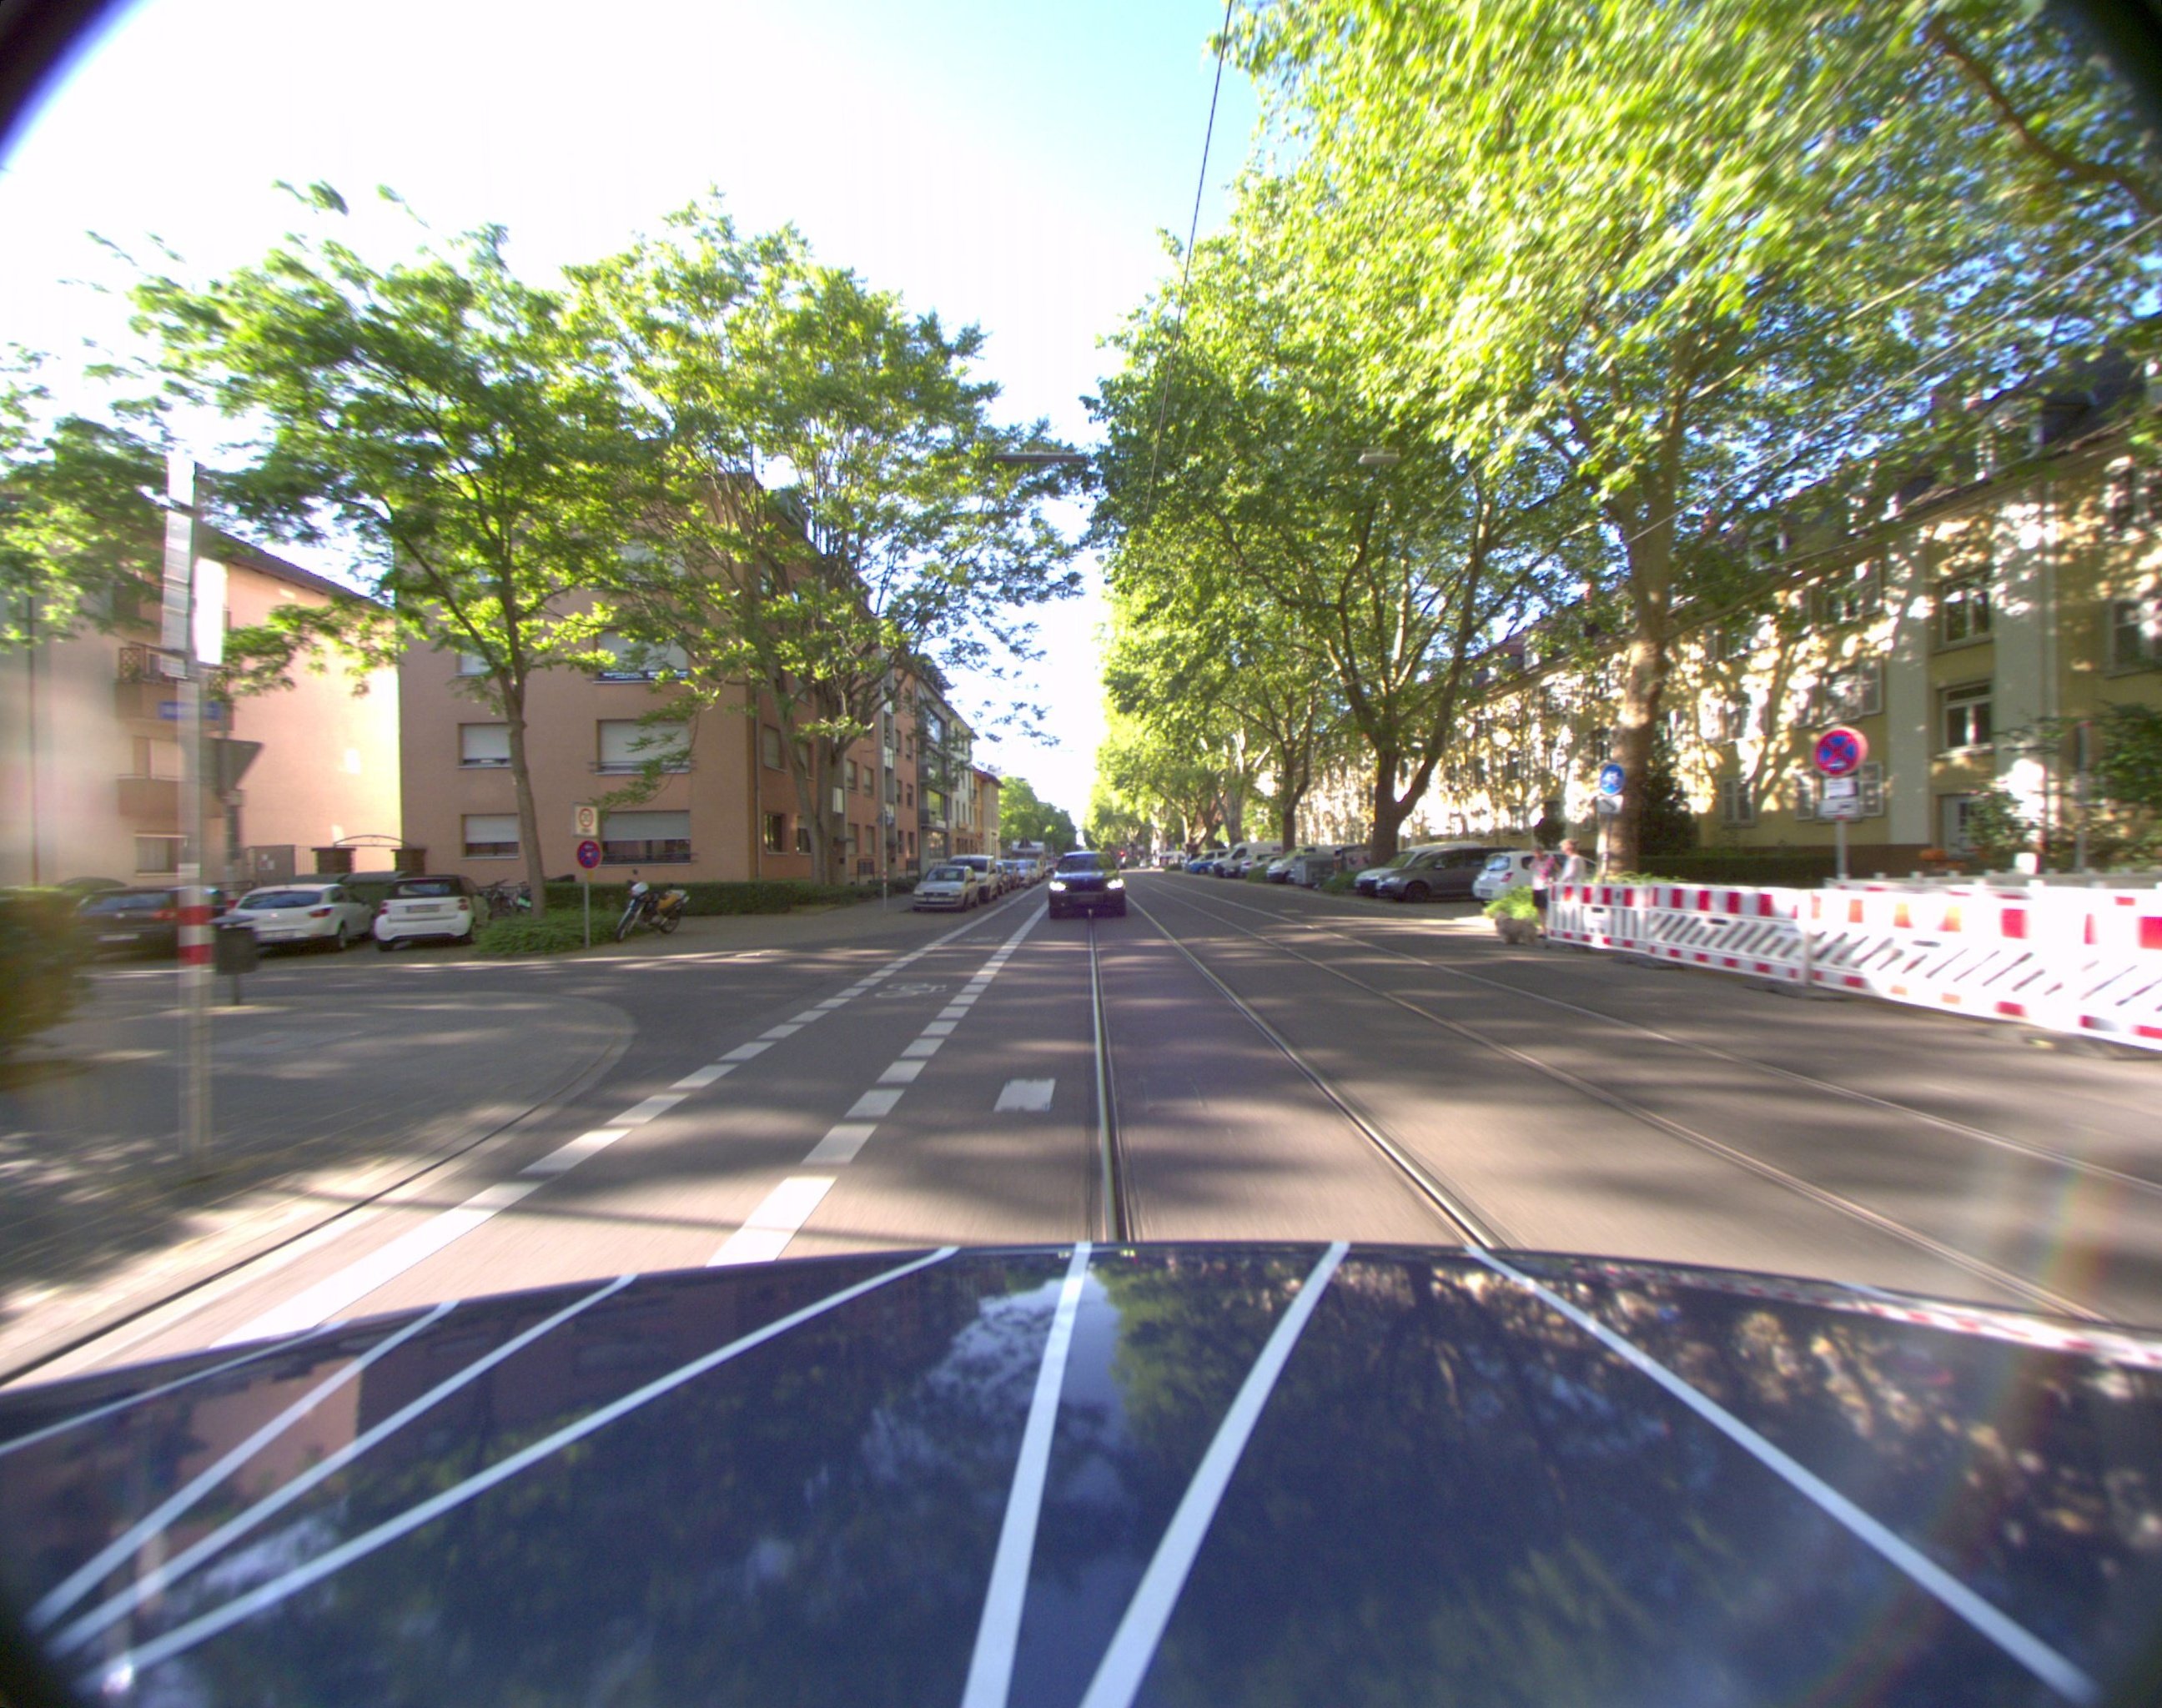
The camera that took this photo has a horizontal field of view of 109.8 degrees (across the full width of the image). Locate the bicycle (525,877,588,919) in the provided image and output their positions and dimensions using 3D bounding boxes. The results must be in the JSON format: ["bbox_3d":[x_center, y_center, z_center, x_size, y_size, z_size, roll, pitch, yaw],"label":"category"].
[{"bbox_3d":[-15.363,1.273,22.307,0.513,1.093,1.775,-2,1,1],"label":"bicycle"}]

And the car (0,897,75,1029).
[{"bbox_3d":[-14.189,1.285,8.434,3.923,1.473,1.562,-2,-2,0],"label":"car"}]

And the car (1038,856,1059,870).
[{"bbox_3d":[-3.423,0.910,80.242,1.998,1.372,4.739,0,0,0],"label":"car"}]

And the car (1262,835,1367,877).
[{"bbox_3d":[11.761,0.093,38.499,4.669,1.934,1.961,-2,0,-2],"label":"car"}]

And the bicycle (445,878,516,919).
[{"bbox_3d":[-18.344,1.359,23.222,1.774,1.163,0.450,-3,1,1],"label":"bicycle"}]

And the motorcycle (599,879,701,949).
[{"bbox_3d":[-9.300,1.261,16.530,0.679,1.290,2.258,-1,1,7],"label":"motorcycle"}]

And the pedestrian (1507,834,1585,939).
[{"bbox_3d":[8.044,0.539,13.173,0.824,1.735,0.796,-3,1,1],"label":"pedestrian"}]

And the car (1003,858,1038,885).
[{"bbox_3d":[-3.608,1.041,45.779,1.793,1.513,4.321,0,0,-1],"label":"car"}]

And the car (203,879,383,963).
[{"bbox_3d":[-16.841,1.328,16.483,1.730,1.452,3.936,-2,0,-31],"label":"car"}]

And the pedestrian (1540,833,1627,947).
[{"bbox_3d":[8.049,0.550,12.194,0.824,1.735,0.796,-3,1,1],"label":"pedestrian"}]

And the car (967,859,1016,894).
[{"bbox_3d":[-4.144,1.020,35.720,1.710,1.464,4.168,-1,0,1],"label":"car"}]

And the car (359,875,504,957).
[{"bbox_3d":[-14.692,1.313,17.442,1.729,1.531,3.991,-2,0,-29],"label":"car"}]

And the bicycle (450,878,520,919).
[{"bbox_3d":[-18.340,1.359,23.392,1.774,1.158,0.450,-3,1,1],"label":"bicycle"}]

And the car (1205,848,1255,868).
[{"bbox_3d":[11.892,0.280,60.749,3.540,1.451,1.695,-2,0,-6],"label":"car"}]

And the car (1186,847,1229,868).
[{"bbox_3d":[11.771,0.293,70.951,3.691,1.804,1.704,-2,0,0],"label":"car"}]

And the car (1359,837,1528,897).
[{"bbox_3d":[10.893,0.382,23.094,4.242,1.678,1.934,-1,0,8],"label":"car"}]

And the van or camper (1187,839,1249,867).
[{"bbox_3d":[11.616,-0.106,64.475,4.832,2.177,2.119,-2,0,0],"label":"van or camper"}]

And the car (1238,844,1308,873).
[{"bbox_3d":[11.845,0.268,47.029,3.857,1.653,1.862,-1,0,1],"label":"car"}]

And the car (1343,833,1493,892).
[{"bbox_3d":[11.174,0.266,25.386,4.210,1.747,1.739,-2,0,-1],"label":"car"}]

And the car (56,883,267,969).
[{"bbox_3d":[-19.602,1.441,16.443,1.669,1.452,3.936,-2,0,-31],"label":"car"}]

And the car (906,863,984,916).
[{"bbox_3d":[-4.257,1.070,24.394,1.710,1.464,4.000,-1,0,1],"label":"car"}]

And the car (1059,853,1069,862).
[{"bbox_3d":[-3.317,0.687,146.993,1.815,1.701,4.372,0,0,0],"label":"car"}]

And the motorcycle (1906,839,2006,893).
[{"bbox_3d":[21.000,0.288,18.249,1.714,1.234,0.523,-1,1,2],"label":"motorcycle"}]

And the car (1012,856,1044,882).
[{"bbox_3d":[-3.531,0.981,51.331,1.797,1.618,4.276,0,0,0],"label":"car"}]

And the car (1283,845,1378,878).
[{"bbox_3d":[11.705,0.344,35.767,3.857,1.489,1.862,-1,0,1],"label":"car"}]

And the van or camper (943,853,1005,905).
[{"bbox_3d":[-4.124,0.901,29.889,1.759,1.853,4.830,-1,0,0],"label":"van or camper"}]

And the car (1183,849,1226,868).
[{"bbox_3d":[11.880,0.427,73.301,3.692,1.615,1.799,-2,0,-4],"label":"car"}]

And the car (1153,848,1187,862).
[{"bbox_3d":[12.302,0.109,105.365,4.464,1.755,2.028,-2,0,-1],"label":"car"}]

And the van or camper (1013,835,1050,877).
[{"bbox_3d":[-3.706,0.148,57.892,2.468,3.046,6.267,0,0,-1],"label":"van or camper"}]

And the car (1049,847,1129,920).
[{"bbox_3d":[0.213,0.716,21.112,1.924,1.741,4.806,-2,0,0],"label":"car"}]

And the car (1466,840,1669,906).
[{"bbox_3d":[11.992,0.449,18.945,3.857,1.489,1.862,-1,0,1],"label":"car"}]

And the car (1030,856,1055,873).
[{"bbox_3d":[-3.564,0.917,71.007,1.998,1.485,4.740,0,0,1],"label":"car"}]

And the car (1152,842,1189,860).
[{"bbox_3d":[12.974,-0.430,110.262,5.019,2.383,2.028,-2,0,-1],"label":"car"}]

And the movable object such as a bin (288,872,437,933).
[{"bbox_3d":[-19.149,1.267,20.338,2.547,1.411,1.377,-2,2,-2],"label":"movable object such as a bin"}]

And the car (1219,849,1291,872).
[{"bbox_3d":[11.225,0.430,49.253,4.274,1.390,1.753,-1,0,1],"label":"car"}]

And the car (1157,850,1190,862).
[{"bbox_3d":[12.543,0.275,103.251,4.170,1.506,1.925,-2,0,-1],"label":"car"}]

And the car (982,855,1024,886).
[{"bbox_3d":[-4.152,0.846,40.835,1.772,1.563,4.336,0,0,0],"label":"car"}]

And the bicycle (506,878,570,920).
[{"bbox_3d":[-15.914,1.297,22.311,0.513,1.093,1.775,-2,1,1],"label":"bicycle"}]

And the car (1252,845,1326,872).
[{"bbox_3d":[12.231,0.248,44.897,3.857,1.489,1.862,-1,0,1],"label":"car"}]

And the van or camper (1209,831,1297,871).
[{"bbox_3d":[11.681,-0.192,51.854,5.403,2.501,2.445,-2,0,0],"label":"van or camper"}]

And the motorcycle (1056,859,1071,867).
[{"bbox_3d":[-2.382,1.233,103.611,2.071,1.152,0.828,1,1,4],"label":"motorcycle"}]
